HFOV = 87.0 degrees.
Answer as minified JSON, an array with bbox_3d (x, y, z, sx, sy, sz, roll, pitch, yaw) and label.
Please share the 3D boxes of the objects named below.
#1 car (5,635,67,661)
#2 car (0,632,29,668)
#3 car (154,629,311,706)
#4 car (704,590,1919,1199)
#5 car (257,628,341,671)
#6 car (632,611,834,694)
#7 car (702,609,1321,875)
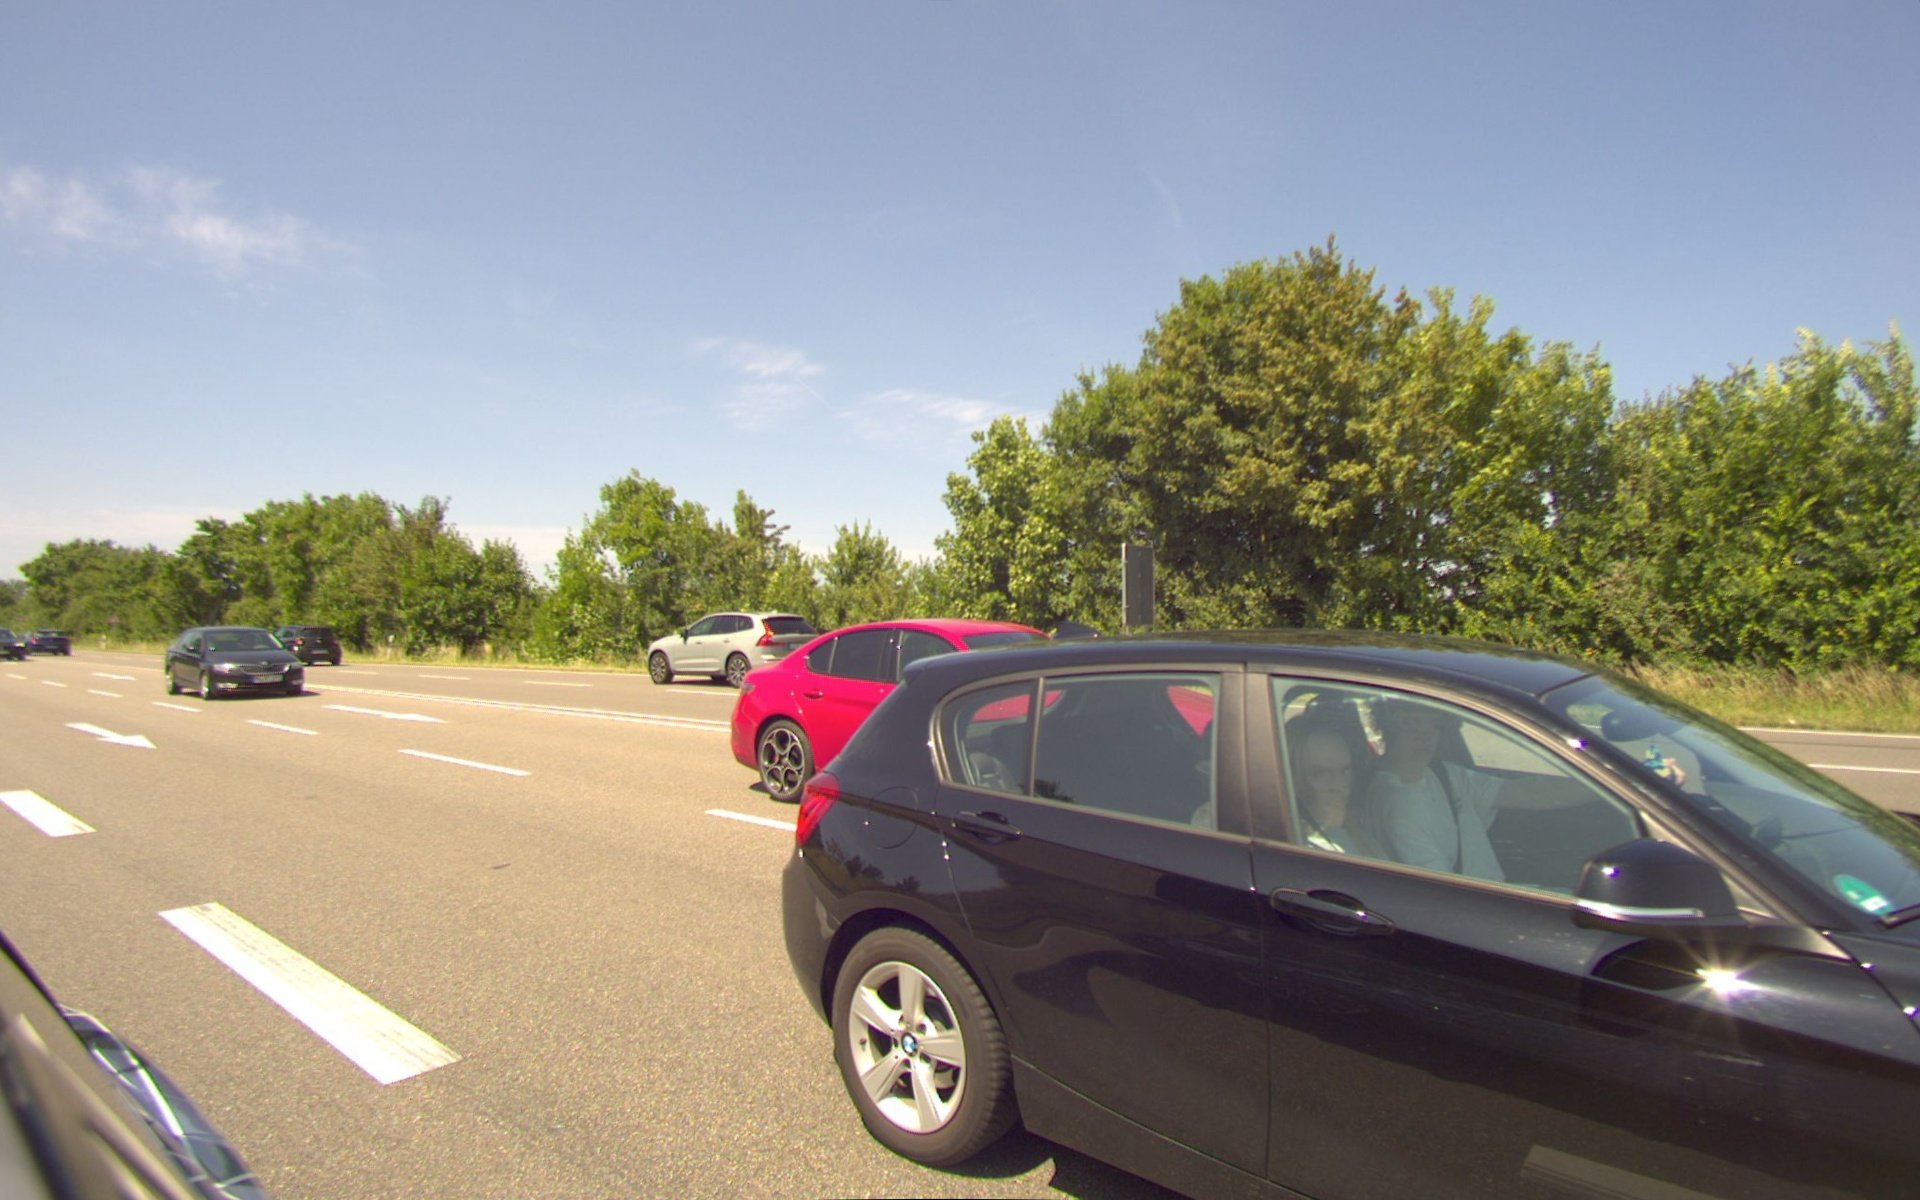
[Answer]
[{"bbox_3d":[-49.423,2.544,54.092,4.761,1.289,1.787,-1,-1,40],"label":"car"},{"bbox_3d":[-41.885,2.151,43.777,4.523,1.458,1.869,-1,-1,41],"label":"car"},{"bbox_3d":[-15.369,1.343,21.291,4.464,1.422,1.657,-1,-1,40],"label":"car"},{"bbox_3d":[1.409,0.721,2.458,4.378,1.441,1.765,-2,-1,41],"label":"car"},{"bbox_3d":[-24.939,1.843,38.140,3.554,1.499,1.629,-1,-1,39],"label":"car"},{"bbox_3d":[-5.164,1.113,22.732,4.563,1.652,2.008,-1,-1,39],"label":"car"},{"bbox_3d":[0.147,0.849,7.687,4.562,1.432,1.731,-2,-1,40],"label":"car"}]
